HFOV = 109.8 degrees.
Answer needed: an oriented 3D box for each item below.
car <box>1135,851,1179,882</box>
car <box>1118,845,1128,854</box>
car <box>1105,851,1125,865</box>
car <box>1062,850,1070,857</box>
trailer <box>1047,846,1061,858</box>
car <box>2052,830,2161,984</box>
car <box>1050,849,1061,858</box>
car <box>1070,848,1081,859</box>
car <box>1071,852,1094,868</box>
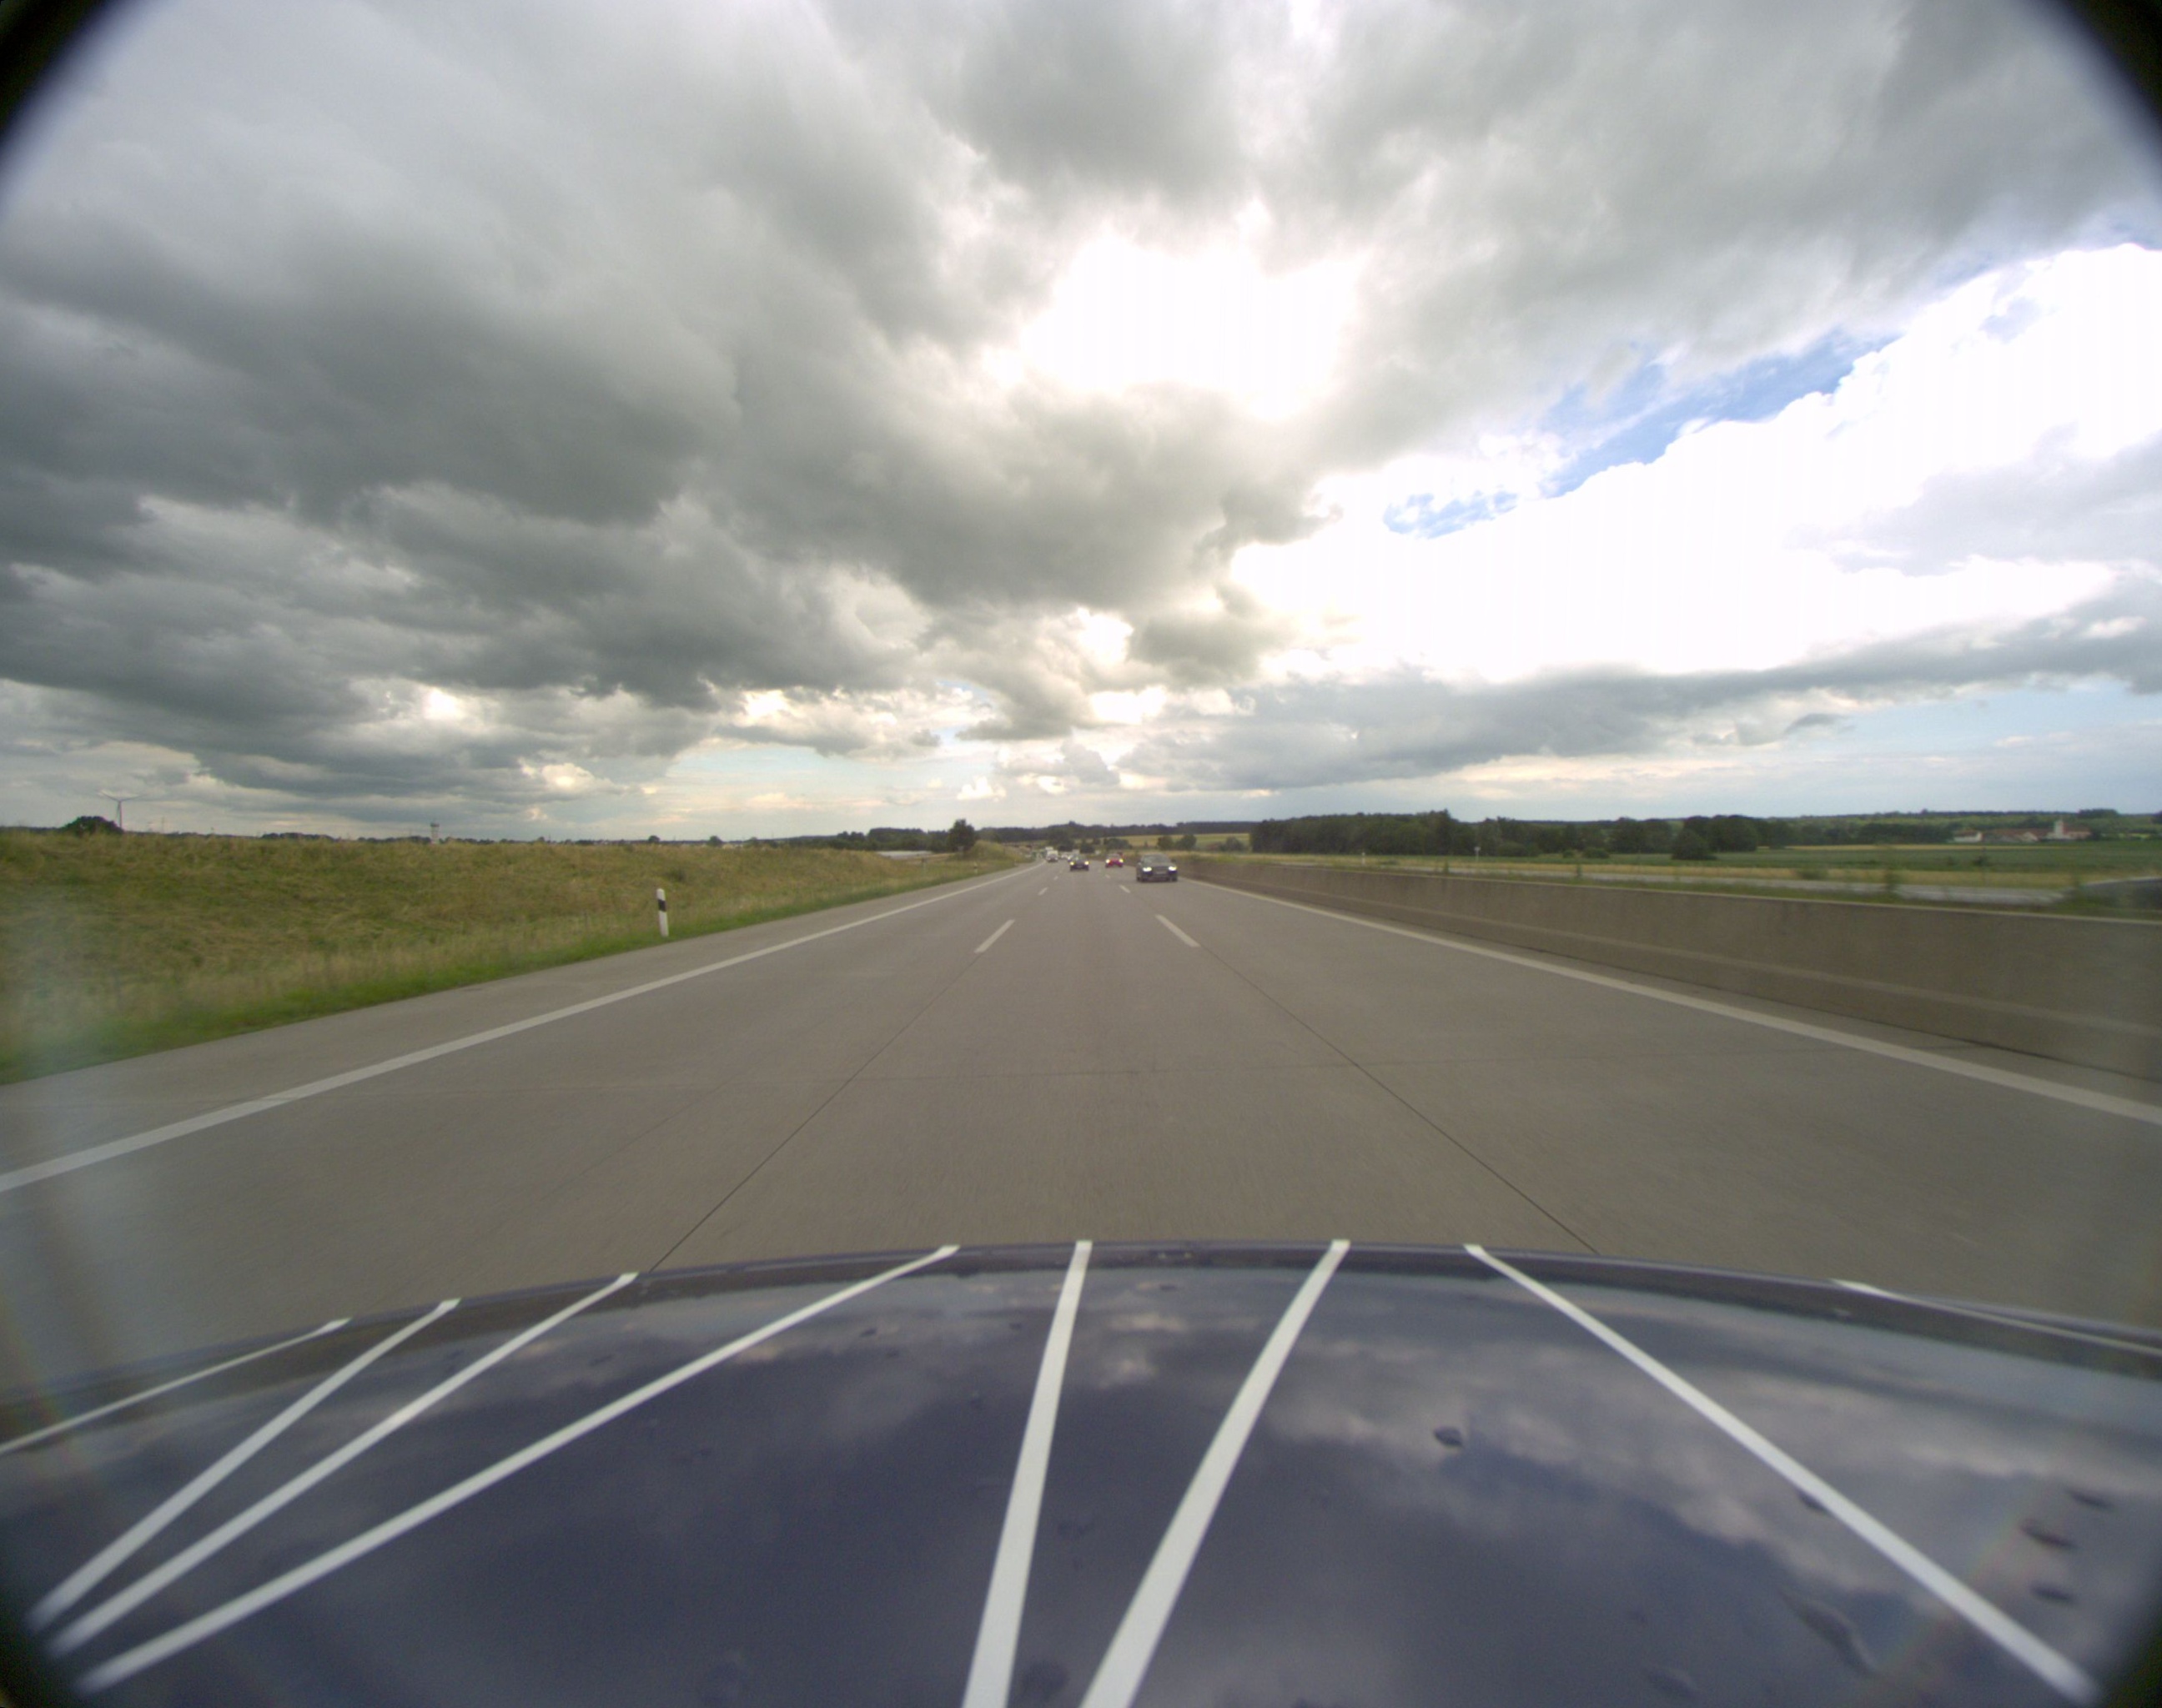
[{"bbox_3d":[3.913,0.626,39.560,1.939,1.464,4.000,-2,0,1],"label":"car"},{"bbox_3d":[10.361,-1.059,186.587,1.999,2.002,4.630,-2,0,-1],"label":"car"},{"bbox_3d":[3.619,0.440,81.507,1.822,1.364,3.782,-3,1,-1],"label":"car"},{"bbox_3d":[-4.192,-0.102,215.445,1.810,2.002,3.840,-3,1,-4],"label":"car"},{"bbox_3d":[-5.883,-0.540,164.999,2.616,2.519,6.717,-2,1,-5],"label":"trailer"},{"bbox_3d":[12.265,0.581,6.892,1.614,1.594,4.177,-2,1,1],"label":"car"},{"bbox_3d":[-5.349,-0.153,159.150,1.945,1.799,5.029,-2,1,-5],"label":"car"},{"bbox_3d":[-1.013,-0.136,144.870,1.999,2.002,3.999,-2,0,-1],"label":"car"},{"bbox_3d":[0.118,0.527,70.655,1.691,1.405,3.997,-2,1,-5],"label":"car"}]
